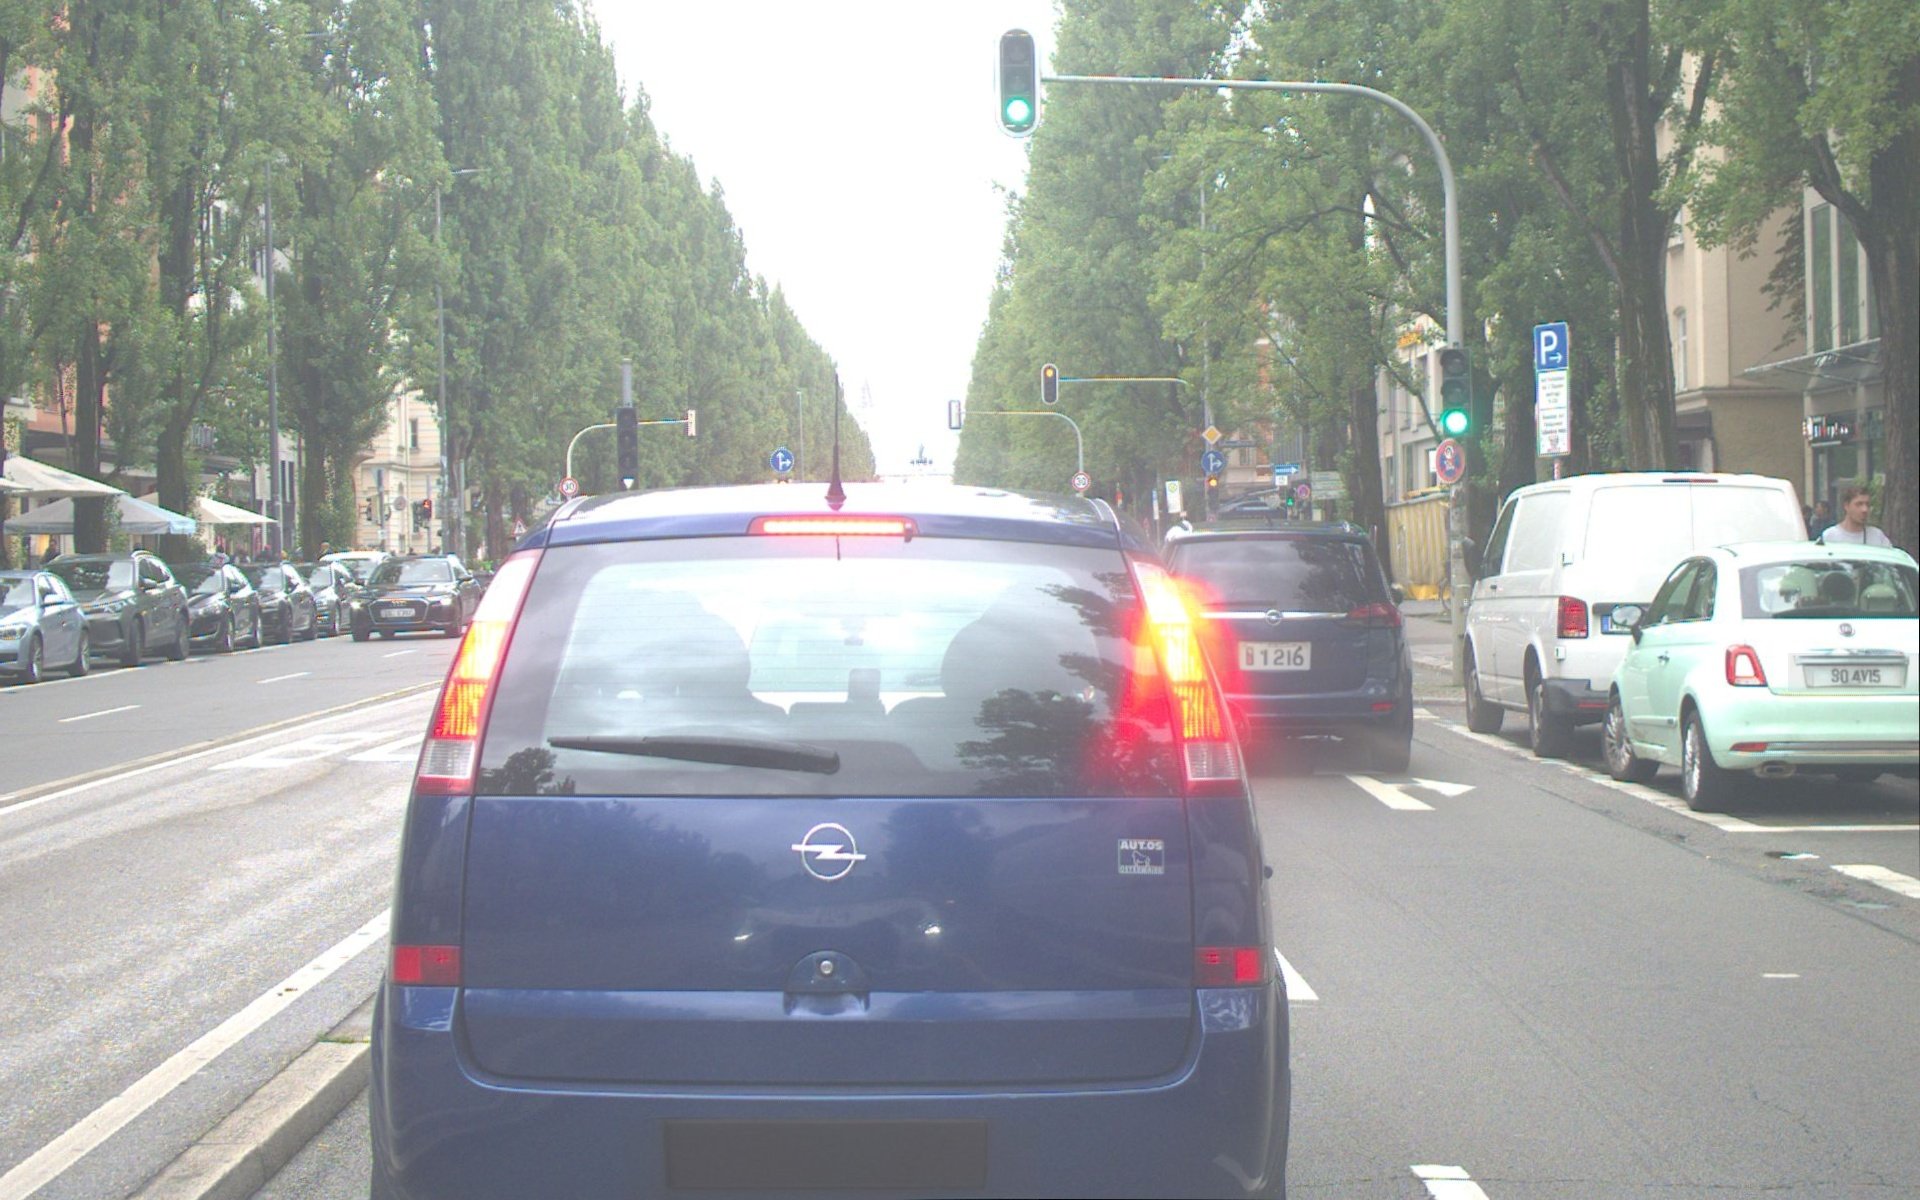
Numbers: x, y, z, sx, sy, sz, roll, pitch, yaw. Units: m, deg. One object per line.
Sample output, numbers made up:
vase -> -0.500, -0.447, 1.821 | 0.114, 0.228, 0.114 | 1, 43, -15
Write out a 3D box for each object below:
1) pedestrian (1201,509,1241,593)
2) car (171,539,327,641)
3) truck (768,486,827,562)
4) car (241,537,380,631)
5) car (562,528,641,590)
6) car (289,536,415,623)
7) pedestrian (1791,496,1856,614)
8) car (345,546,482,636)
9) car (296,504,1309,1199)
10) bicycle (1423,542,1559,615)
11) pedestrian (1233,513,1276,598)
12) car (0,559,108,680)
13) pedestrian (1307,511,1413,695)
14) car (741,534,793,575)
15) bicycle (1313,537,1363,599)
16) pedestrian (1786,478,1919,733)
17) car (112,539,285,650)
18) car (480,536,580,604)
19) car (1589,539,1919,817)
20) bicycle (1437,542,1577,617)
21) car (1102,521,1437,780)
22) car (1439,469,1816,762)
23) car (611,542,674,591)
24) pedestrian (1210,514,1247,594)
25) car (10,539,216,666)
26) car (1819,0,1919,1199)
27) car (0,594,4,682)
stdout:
pedestrian -> 5.701, -1.073, 75.213 | 0.636, 1.820, 0.888 | 1, 0, -10
car -> -12.525, -0.212, 60.799 | 1.866, 1.660, 4.120 | -2, 1, -1
truck -> -7.302, -3.430, 155.241 | 2.383, 3.335, 7.111 | -1, 1, -1
car -> -12.487, -0.335, 66.325 | 1.866, 1.660, 4.120 | -2, 1, -1
car -> -9.896, -1.146, 95.123 | 1.770, 1.629, 4.456 | -2, 1, -1
car -> -12.619, -0.451, 71.585 | 1.866, 1.660, 4.120 | -2, 1, -1
pedestrian -> 12.516, -0.650, 49.835 | 0.673, 1.680, 0.759 | -2, 0, -5
car -> -9.722, -0.185, 61.477 | 1.697, 1.457, 4.713 | -2, 1, -1
car -> -0.274, 0.583, 7.686 | 1.671, 1.563, 4.000 | 0, 1, 0
bicycle -> 9.191, -0.372, 59.511 | 2.227, 1.200, 0.626 | -1, 1, -2
pedestrian -> 6.454, -0.974, 75.328 | 0.719, 1.820, 0.888 | 1, 0, -10
car -> -12.261, 0.245, 43.853 | 1.733, 1.421, 4.144 | -2, 1, -1
pedestrian -> 3.706, 0.025, 31.877 | 0.859, 1.678, 0.627 | -1, 1, -3
car -> -7.037, -1.662, 125.540 | 1.735, 1.460, 3.365 | -1, 1, -1
bicycle -> 8.313, -0.718, 75.748 | 0.772, 1.344, 2.449 | -1, 1, -1
pedestrian -> 6.348, 0.032, 24.345 | 0.827, 1.767, 0.870 | -1, 1, 5
car -> -12.329, -0.122, 55.917 | 1.866, 1.660, 4.120 | -2, 1, -1
car -> -9.783, -0.709, 78.377 | 1.745, 1.429, 4.130 | -2, 1, -1
car -> 4.785, 0.390, 20.208 | 1.541, 1.487, 3.523 | 0, 1, 0
bicycle -> 9.234, -0.351, 58.074 | 2.227, 1.200, 0.626 | -1, 1, -2
car -> 2.014, 0.277, 23.439 | 1.896, 1.616, 4.000 | 0, 1, 0
car -> 4.773, 0.055, 25.241 | 1.787, 1.939, 4.731 | 0, 1, -1
car -> -11.193, -1.187, 121.586 | 1.866, 1.660, 4.120 | -1, 1, -1
pedestrian -> 6.213, -1.067, 79.536 | 0.636, 1.820, 0.888 | 1, 0, -10
car -> -12.155, 0.000, 49.594 | 1.866, 1.660, 4.401 | -2, 1, -1
car -> 2.503, 0.262, 2.440 | 2.063, 2.484, 6.730 | 0, 1, 0
car -> -12.276, 0.314, 38.702 | 1.798, 1.483, 4.351 | -2, 1, -1
